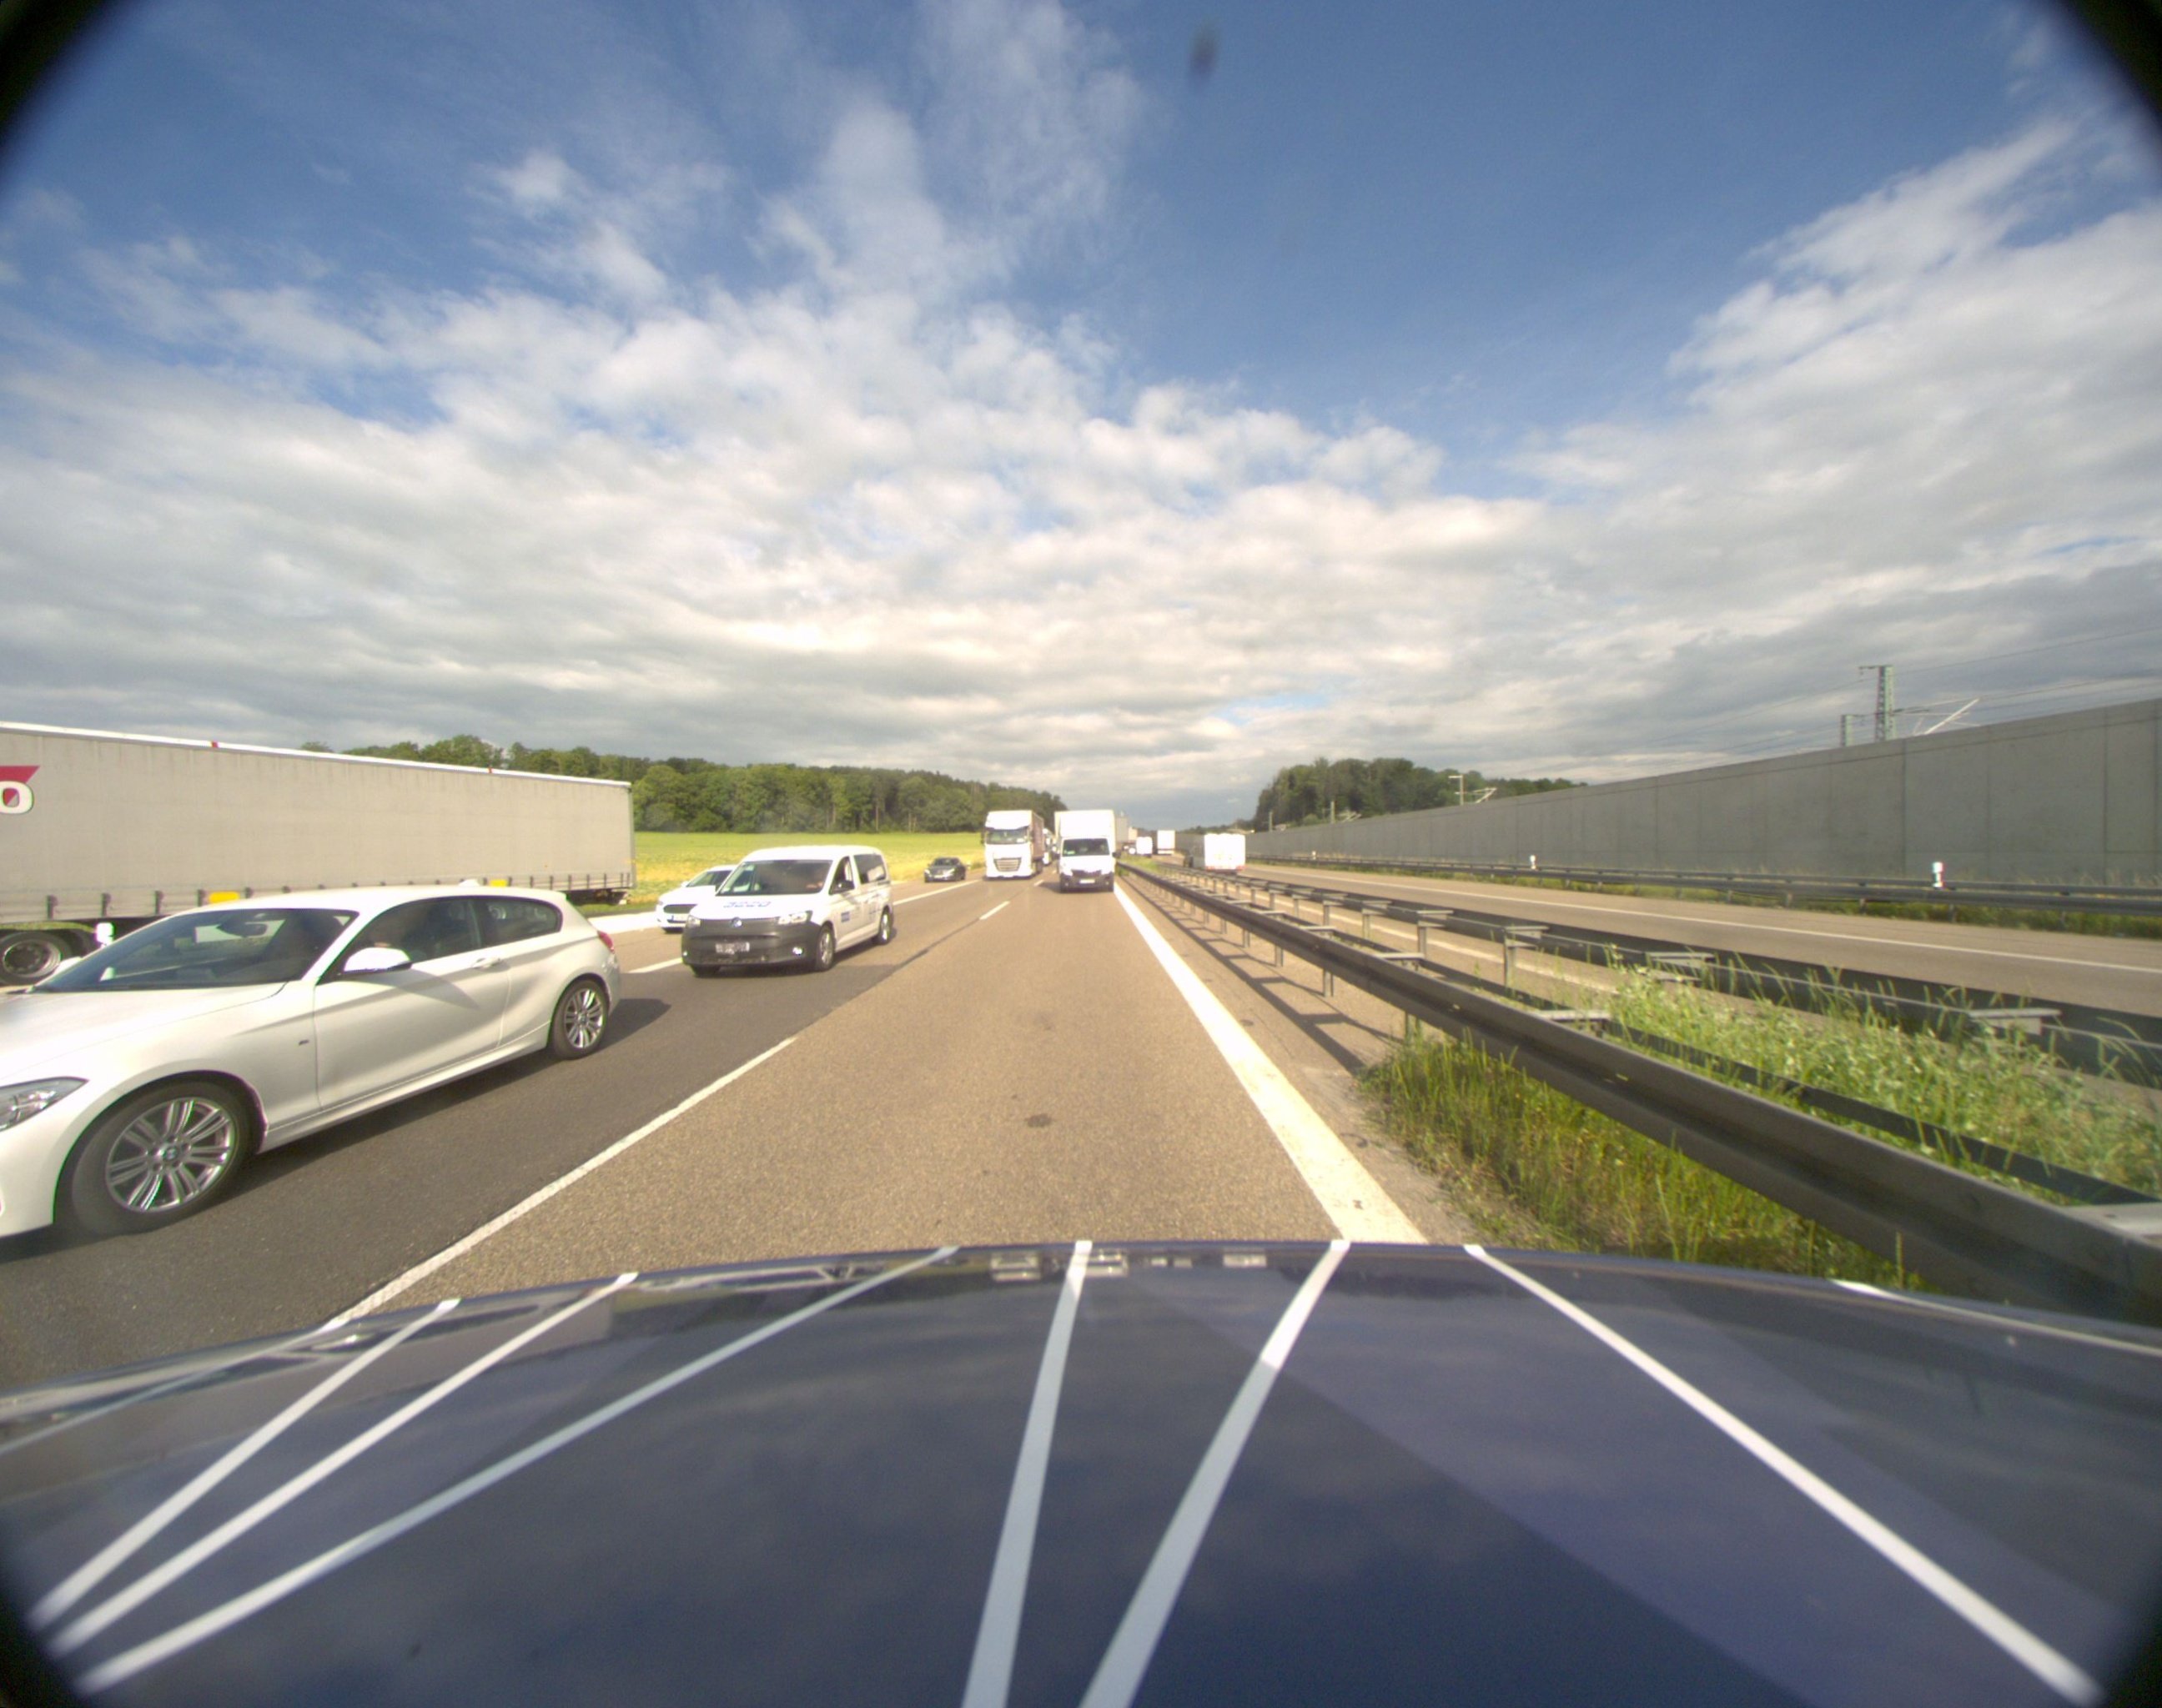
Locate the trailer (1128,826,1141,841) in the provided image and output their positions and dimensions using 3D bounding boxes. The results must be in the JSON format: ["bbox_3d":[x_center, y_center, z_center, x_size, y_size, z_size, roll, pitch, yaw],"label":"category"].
[{"bbox_3d":[15.162,-5.847,216.240,2.690,4.014,13.790,-1,0,0],"label":"trailer"}]

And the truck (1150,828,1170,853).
[{"bbox_3d":[13.509,-2.283,130.648,2.783,4.064,5.531,0,1,0],"label":"truck"}]

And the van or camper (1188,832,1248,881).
[{"bbox_3d":[8.041,0.118,45.285,2.258,2.688,7.169,-1,0,0],"label":"van or camper"}]

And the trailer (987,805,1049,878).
[{"bbox_3d":[-3.965,-0.849,51.195,2.742,4.137,14.016,-2,1,0],"label":"trailer"}]

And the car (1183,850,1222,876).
[{"bbox_3d":[8.088,0.577,51.054,1.915,1.662,4.361,-1,0,0],"label":"car"}]

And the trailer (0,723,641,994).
[{"bbox_3d":[-16.520,0.042,16.579,2.739,4.136,13.843,-2,0,15],"label":"trailer"}]

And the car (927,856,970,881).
[{"bbox_3d":[-7.672,0.835,44.367,1.707,1.345,4.183,0,1,1],"label":"car"}]

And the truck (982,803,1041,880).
[{"bbox_3d":[-4.005,-0.729,44.847,2.736,4.150,5.766,-2,1,0],"label":"truck"}]

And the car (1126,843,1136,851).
[{"bbox_3d":[9.609,-1.417,146.743,1.656,1.443,3.955,-1,1,-1],"label":"car"}]

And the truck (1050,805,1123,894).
[{"bbox_3d":[0.236,-0.187,33.158,2.500,3.082,12.037,-2,0,0],"label":"truck"}]

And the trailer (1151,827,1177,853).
[{"bbox_3d":[13.484,-2.212,123.973,2.797,4.054,13.518,0,1,0],"label":"trailer"}]

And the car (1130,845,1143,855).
[{"bbox_3d":[8.992,-0.665,123.356,1.878,1.443,4.232,-1,1,1],"label":"car"}]

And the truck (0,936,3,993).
[{"bbox_3d":[-18.446,0.122,9.611,2.717,4.149,4.765,-2,0,15],"label":"truck"}]

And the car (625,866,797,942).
[{"bbox_3d":[-8.589,1.073,18.190,1.871,1.424,4.629,-2,0,-1],"label":"car"}]

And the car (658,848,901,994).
[{"bbox_3d":[-4.289,0.811,11.756,1.729,1.746,4.702,-3,1,1],"label":"car"}]

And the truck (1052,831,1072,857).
[{"bbox_3d":[-3.155,-1.609,129.281,2.946,4.094,16.207,-1,0,0],"label":"truck"}]

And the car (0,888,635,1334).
[{"bbox_3d":[-4.809,1.059,4.527,1.708,1.424,4.232,-2,0,1],"label":"car"}]

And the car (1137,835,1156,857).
[{"bbox_3d":[8.717,-1.035,101.549,2.109,2.854,5.636,-1,1,0],"label":"car"}]

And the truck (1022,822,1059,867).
[{"bbox_3d":[-3.966,-0.930,76.890,2.946,4.094,12.523,-1,1,0],"label":"truck"}]
